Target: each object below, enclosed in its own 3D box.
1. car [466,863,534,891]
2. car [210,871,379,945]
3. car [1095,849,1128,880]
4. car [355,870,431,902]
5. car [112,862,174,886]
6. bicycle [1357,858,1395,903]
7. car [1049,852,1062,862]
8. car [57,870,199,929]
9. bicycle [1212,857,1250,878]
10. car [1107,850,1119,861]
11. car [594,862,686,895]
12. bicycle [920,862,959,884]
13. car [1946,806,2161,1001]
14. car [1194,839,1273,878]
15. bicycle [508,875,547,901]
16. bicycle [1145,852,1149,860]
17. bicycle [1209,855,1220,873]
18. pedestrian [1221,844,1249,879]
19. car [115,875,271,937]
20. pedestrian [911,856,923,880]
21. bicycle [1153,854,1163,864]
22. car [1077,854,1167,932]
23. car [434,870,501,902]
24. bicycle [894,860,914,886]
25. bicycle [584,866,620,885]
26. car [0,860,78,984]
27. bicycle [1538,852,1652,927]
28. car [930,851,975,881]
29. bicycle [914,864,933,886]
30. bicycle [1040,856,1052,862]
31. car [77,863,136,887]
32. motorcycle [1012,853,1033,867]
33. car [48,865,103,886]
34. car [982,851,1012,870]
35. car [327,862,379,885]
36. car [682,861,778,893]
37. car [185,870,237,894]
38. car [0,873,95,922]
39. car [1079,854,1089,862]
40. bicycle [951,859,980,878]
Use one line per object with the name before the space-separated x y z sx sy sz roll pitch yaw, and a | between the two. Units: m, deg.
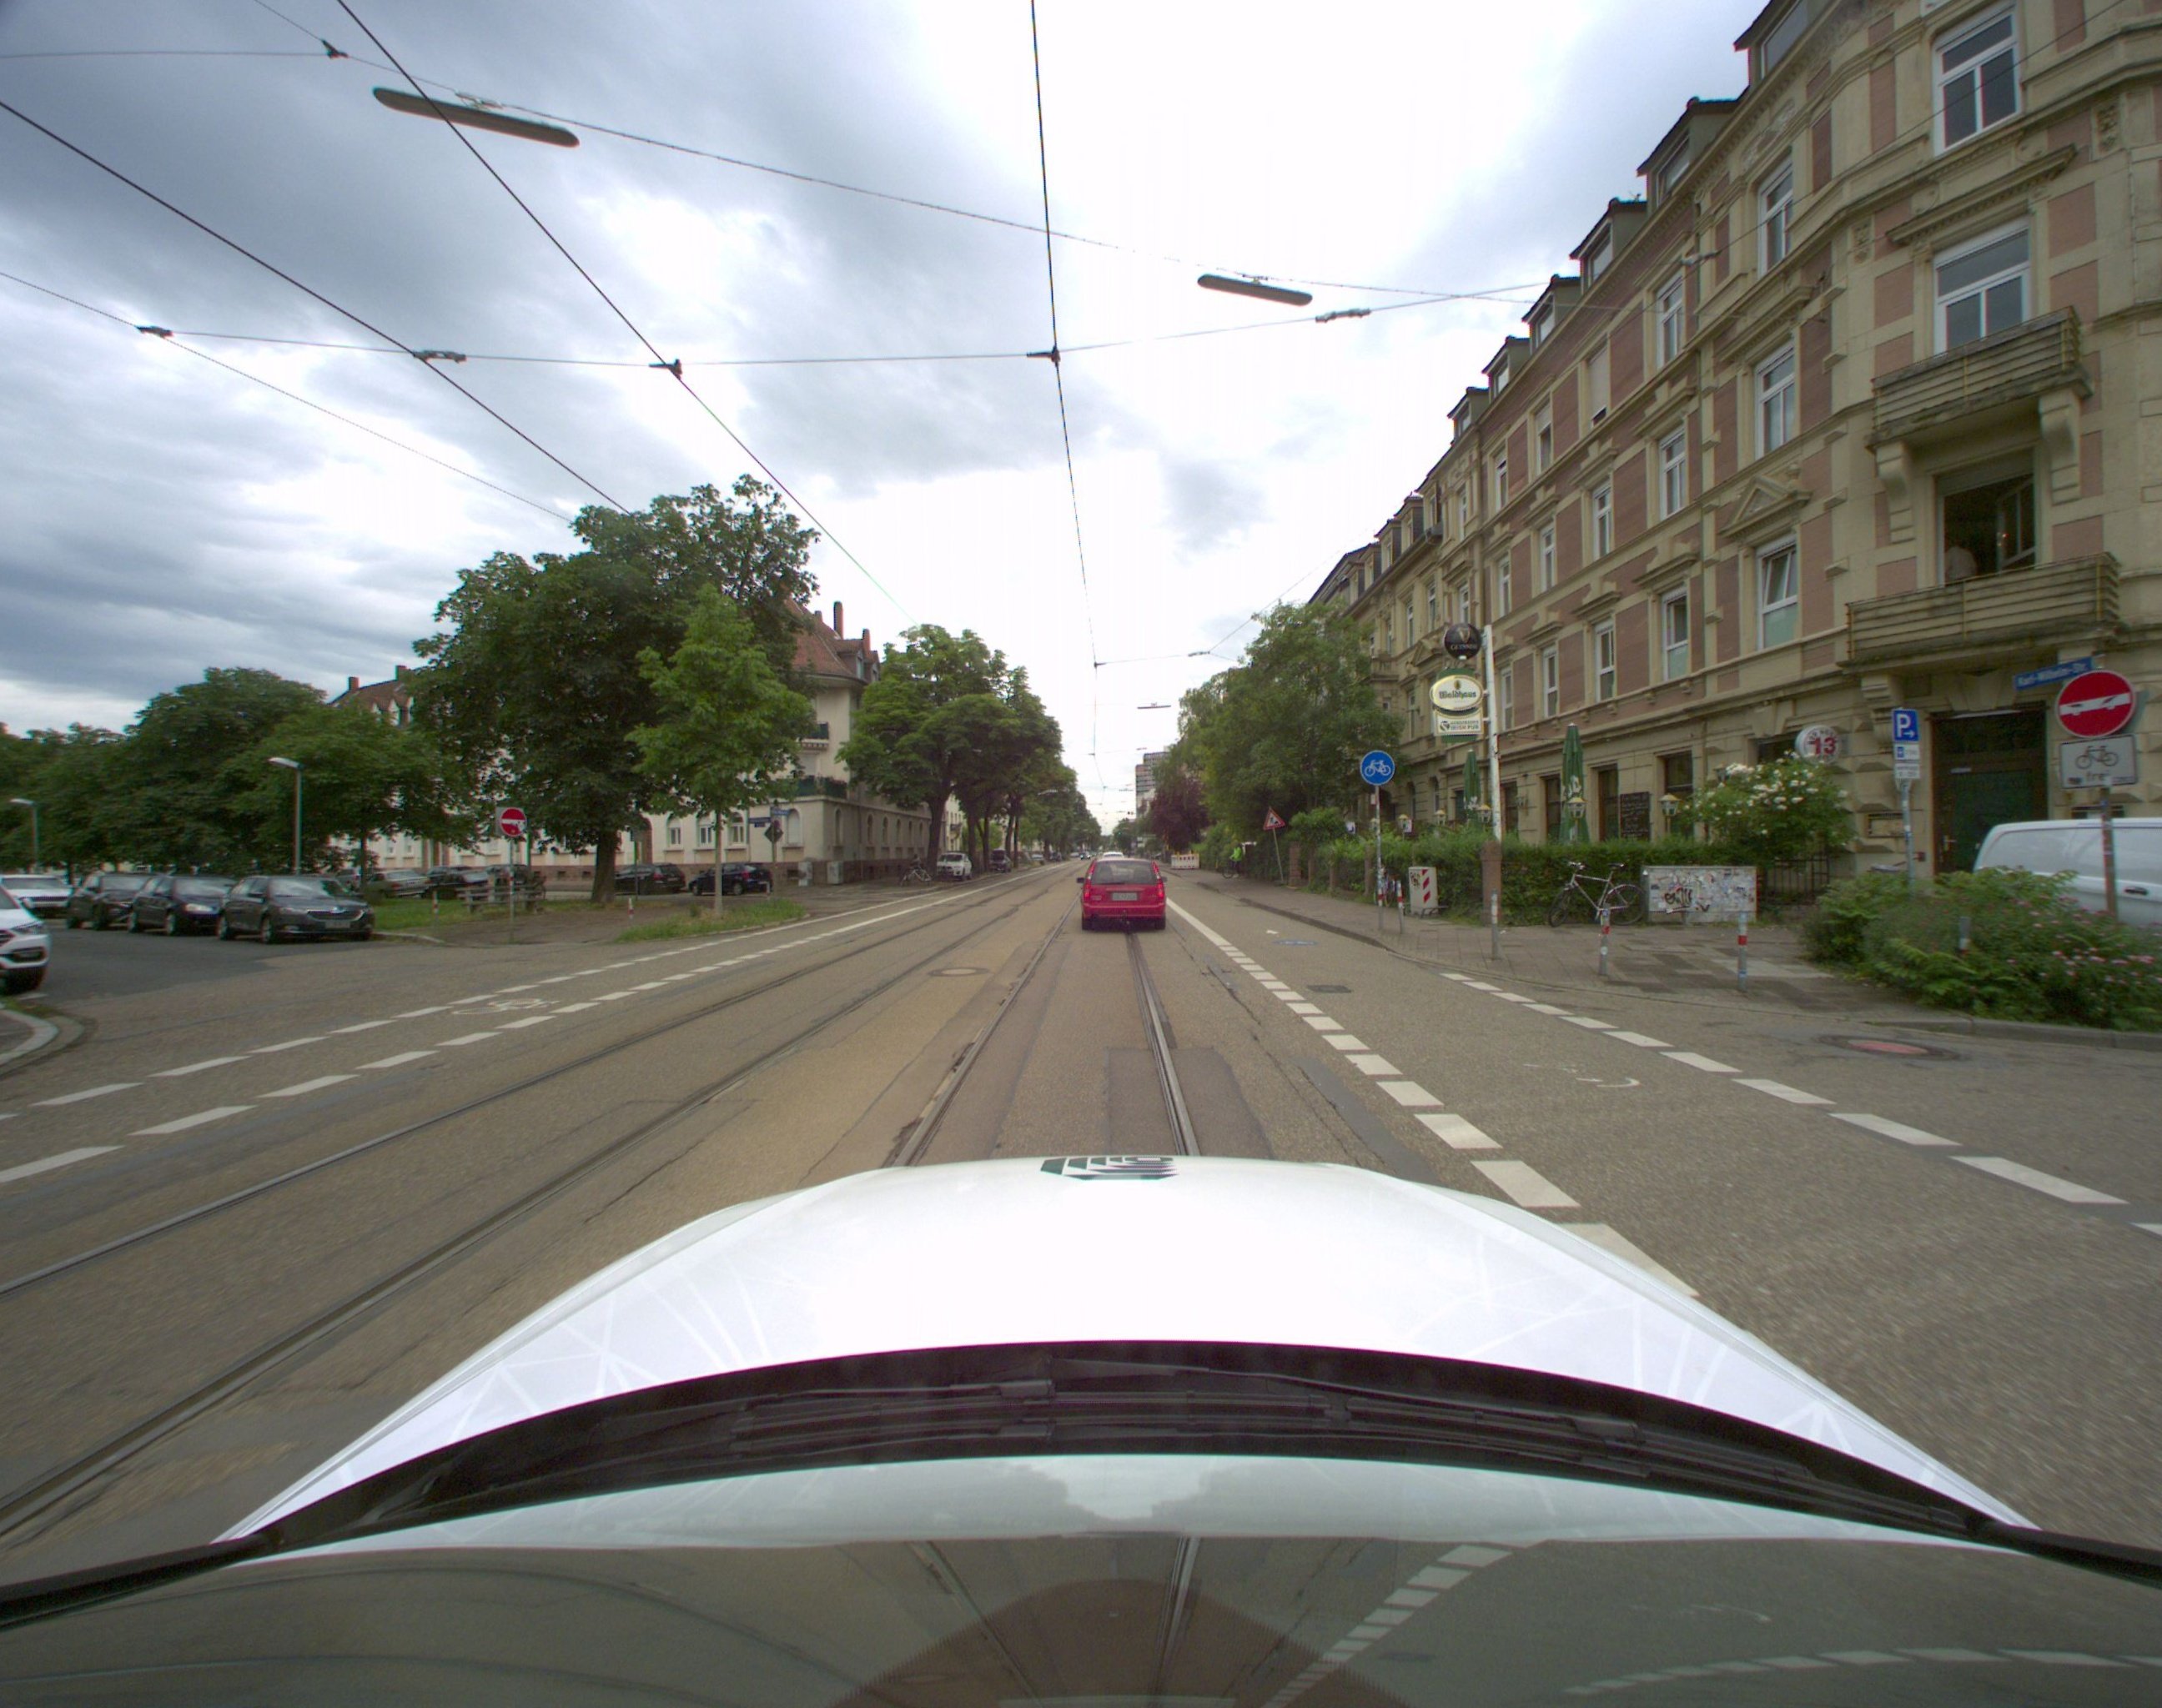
car | -31.911 1.234 44.706 3.455 1.441 1.685 -1 0 28
car | -17.570 1.118 18.164 4.018 1.410 1.672 0 0 30
car | 1.778 0.568 45.857 1.711 1.624 3.945 -1 0 4
car | -32.471 1.463 38.415 3.948 1.409 1.684 -1 0 33
car | -65.499 1.373 56.857 4.443 1.611 1.912 -1 0 28
bicycle | 7.335 0.643 20.303 0.300 1.041 1.849 -1 0 2
car | -4.110 0.487 133.024 1.844 1.563 3.944 -1 0 2
car | -27.018 1.236 23.067 4.136 1.480 1.713 0 0 27
bicycle | 7.753 0.699 42.035 1.834 1.076 0.606 -1 0 0
car | 4.840 0.251 123.679 1.736 1.606 3.999 -1 0 0
car | -20.576 1.114 37.987 3.896 1.464 1.716 -1 0 24
bicycle | -7.483 1.013 43.174 1.915 1.121 0.624 1 0 1
car | 11.546 0.469 7.959 2.036 1.877 5.052 0 0 17
car | 8.491 0.242 45.604 3.972 1.858 1.810 -4 0 2
bicycle | -19.869 1.210 29.227 1.653 0.925 0.451 -1 1 29
bicycle | 11.675 0.362 143.805 0.549 1.400 1.735 -1 0 2
bicycle | 8.330 0.618 50.925 0.477 1.045 1.532 -1 0 2
pedestrian | 7.879 0.373 41.727 1.224 1.733 1.018 -1 0 1
car | -22.432 1.253 20.553 3.959 1.346 1.675 0 0 27
pedestrian | -10.088 0.850 50.135 0.562 1.467 0.723 -1 0 2
bicycle | 11.630 0.744 123.044 0.909 1.507 2.392 -1 0 19
car | 0.831 0.726 17.096 1.683 1.441 3.744 0 0 2
car | -26.447 1.361 35.113 2.929 1.299 1.365 -1 0 33
bicycle | -8.423 0.901 38.685 0.676 1.135 1.924 -1 1 -18
bicycle | -26.003 1.162 44.191 2.163 1.035 0.657 -1 0 28
car | -16.659 0.950 11.659 4.460 1.663 1.950 -1 0 26
bicycle | 8.928 0.608 14.195 1.593 1.277 0.515 -1 0 13
car | -7.413 0.632 47.330 1.890 1.655 4.226 0 0 1
bicycle | -7.343 0.975 37.961 0.481 0.958 1.399 -1 0 4
bicycle | -5.064 0.696 118.315 1.741 0.844 0.684 -1 0 2
car | -71.033 1.513 59.349 4.443 1.611 1.912 -1 0 28
motorcycle | -6.353 0.677 88.089 2.243 1.511 0.932 -1 -2 37
car | -79.220 1.679 64.142 4.443 1.611 1.912 -1 0 28
car | -6.774 0.526 66.103 1.770 1.511 4.240 0 0 3
car | -46.374 1.241 51.888 3.270 1.430 1.397 -1 0 28
car | -15.247 0.999 35.406 3.715 1.307 1.751 -1 0 25
car | -51.277 1.632 47.991 3.079 1.390 1.302 -1 0 28
car | -36.859 1.488 28.696 4.136 1.552 1.814 -1 1 27
car | 0.617 0.759 154.852 1.749 1.380 4.027 -1 0 1
bicycle | -7.467 0.922 52.624 1.730 1.192 0.655 1 0 16
